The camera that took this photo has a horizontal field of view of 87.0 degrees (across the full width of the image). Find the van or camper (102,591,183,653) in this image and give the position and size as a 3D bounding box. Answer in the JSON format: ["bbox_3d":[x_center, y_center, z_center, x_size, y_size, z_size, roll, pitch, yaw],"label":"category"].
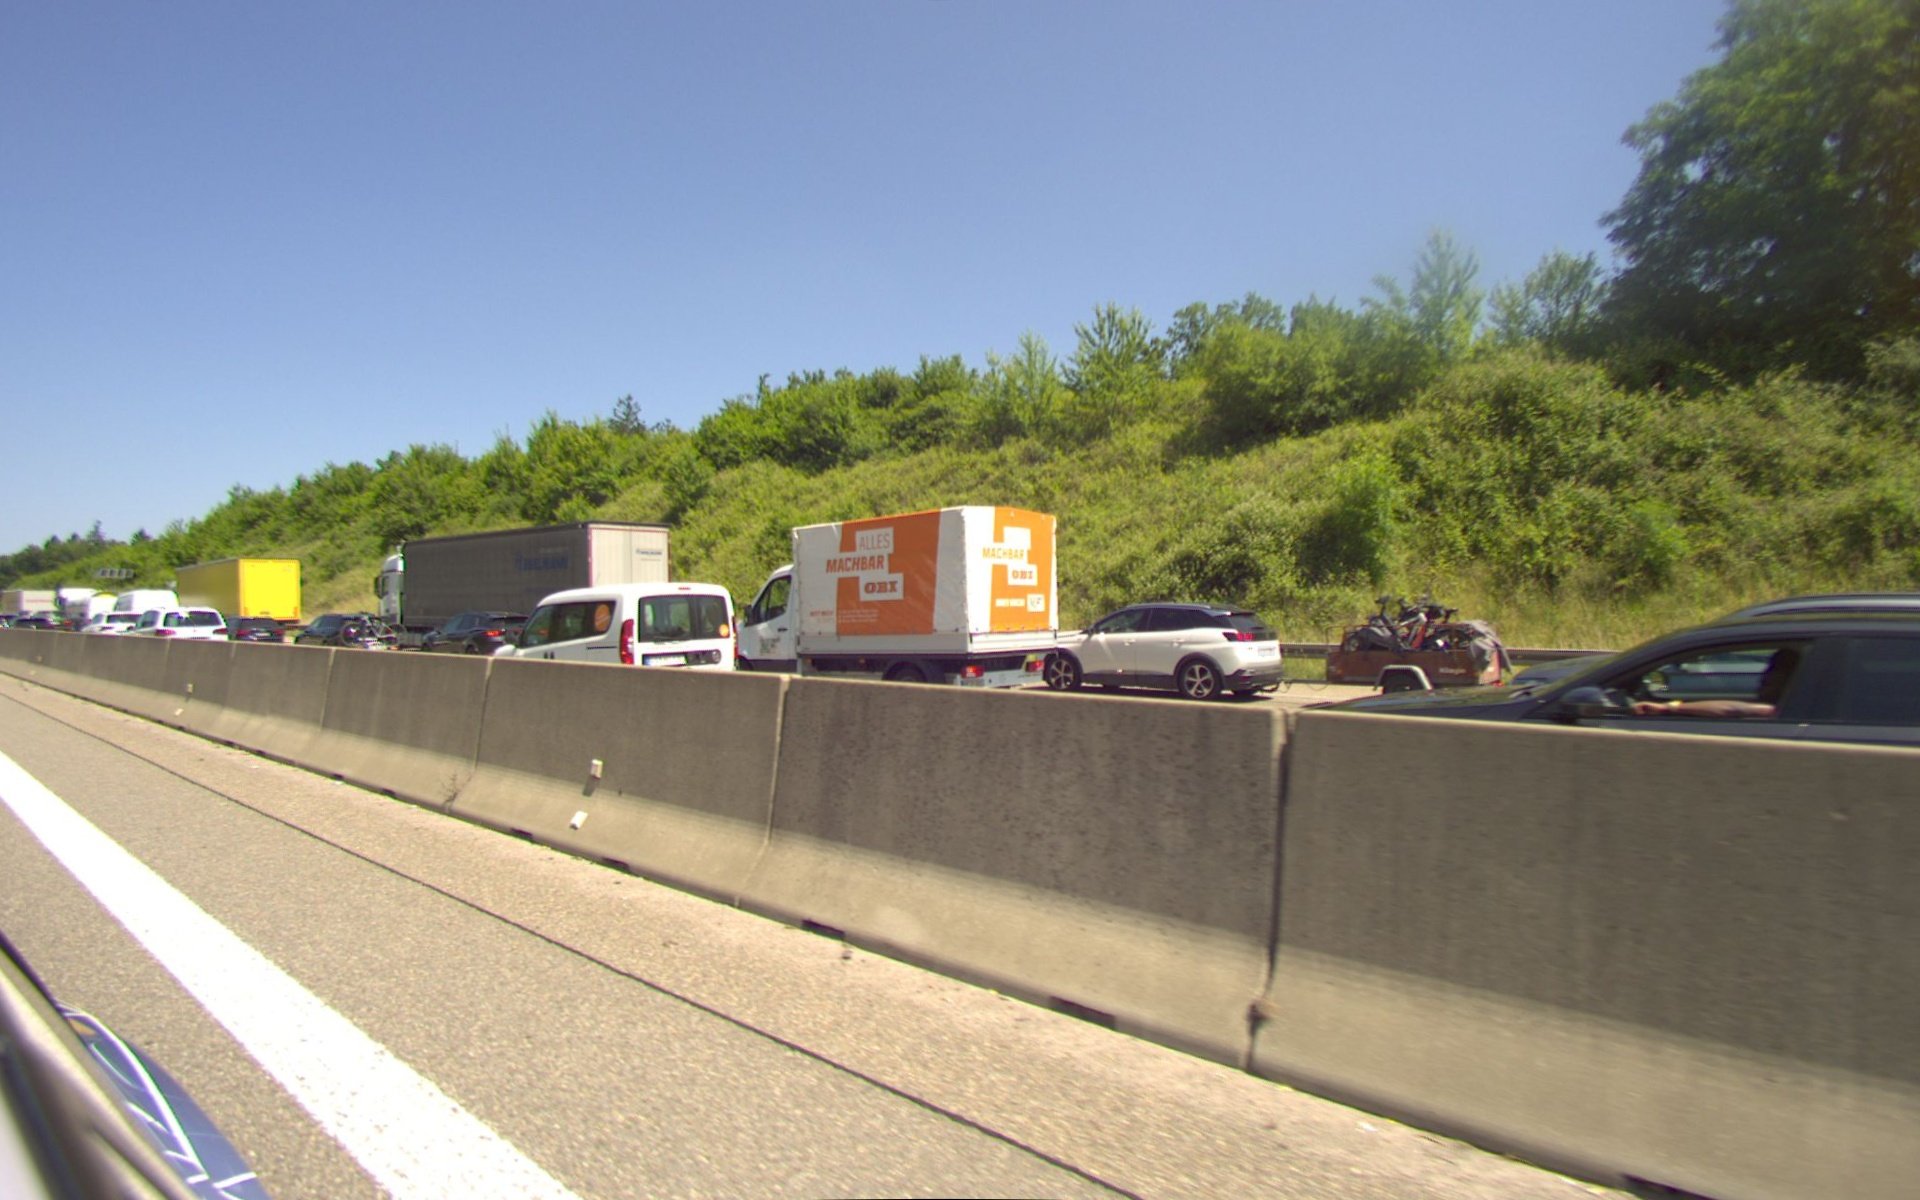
[{"bbox_3d":[-41.790,1.053,51.652,7.535,2.961,2.173,0,0,43],"label":"van or camper"}]

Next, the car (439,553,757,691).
[{"bbox_3d":[-5.112,0.259,13.885,5.107,1.576,1.809,0,0,40],"label":"car"}]

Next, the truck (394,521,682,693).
[{"bbox_3d":[-14.113,0.208,32.619,13.922,4.577,2.963,0,0,43],"label":"truck"}]

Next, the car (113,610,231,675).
[{"bbox_3d":[-23.634,1.194,30.269,4.987,1.778,1.809,0,0,40],"label":"car"}]

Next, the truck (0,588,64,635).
[{"bbox_3d":[-97.355,1.151,105.457,17.371,4.490,3.658,0,0,41],"label":"truck"}]

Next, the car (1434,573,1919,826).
[{"bbox_3d":[6.786,0.697,8.265,4.987,1.778,1.809,0,0,40],"label":"car"}]

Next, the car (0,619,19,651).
[{"bbox_3d":[-57.165,2.062,59.714,4.987,1.778,1.809,0,0,40],"label":"car"}]

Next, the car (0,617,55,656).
[{"bbox_3d":[-46.243,1.749,49.843,4.987,1.778,1.809,0,0,40],"label":"car"}]

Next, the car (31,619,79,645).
[{"bbox_3d":[-64.324,2.226,71.887,4.756,1.741,1.977,0,0,41],"label":"car"}]

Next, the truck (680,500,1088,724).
[{"bbox_3d":[-1.478,0.160,16.187,6.750,2.866,2.542,0,0,42],"label":"truck"}]

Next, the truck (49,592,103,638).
[{"bbox_3d":[-74.362,1.212,85.082,5.869,3.771,2.651,0,0,41],"label":"truck"}]

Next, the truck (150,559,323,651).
[{"bbox_3d":[-40.209,0.267,55.787,16.660,4.490,3.660,0,0,40],"label":"truck"}]

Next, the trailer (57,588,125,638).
[{"bbox_3d":[-69.339,1.087,80.652,10.676,3.761,2.583,-2,-1,41],"label":"trailer"}]

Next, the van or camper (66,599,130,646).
[{"bbox_3d":[-54.241,1.363,63.654,7.217,2.796,2.227,0,0,43],"label":"van or camper"}]

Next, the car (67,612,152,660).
[{"bbox_3d":[-34.025,1.382,40.434,4.987,1.778,1.809,0,0,40],"label":"car"}]

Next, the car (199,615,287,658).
[{"bbox_3d":[-28.477,1.392,40.144,4.520,1.576,1.809,0,0,40],"label":"car"}]

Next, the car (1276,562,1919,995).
[{"bbox_3d":[4.332,0.727,5.013,4.987,1.778,1.809,0,0,40],"label":"car"}]

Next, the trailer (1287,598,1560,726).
[{"bbox_3d":[6.579,0.790,14.490,3.221,1.599,1.677,0,0,41],"label":"trailer"}]

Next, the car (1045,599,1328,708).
[{"bbox_3d":[3.701,0.800,17.025,4.367,1.599,1.715,0,0,41],"label":"car"}]

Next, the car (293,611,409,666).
[{"bbox_3d":[-19.251,1.147,31.929,4.520,1.576,1.809,0,0,40],"label":"car"}]

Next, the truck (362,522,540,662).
[{"bbox_3d":[-18.680,-0.262,36.839,8.604,4.550,2.910,0,0,43],"label":"truck"}]

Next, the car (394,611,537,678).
[{"bbox_3d":[-12.894,1.077,26.288,4.447,1.569,1.778,0,0,41],"label":"car"}]
